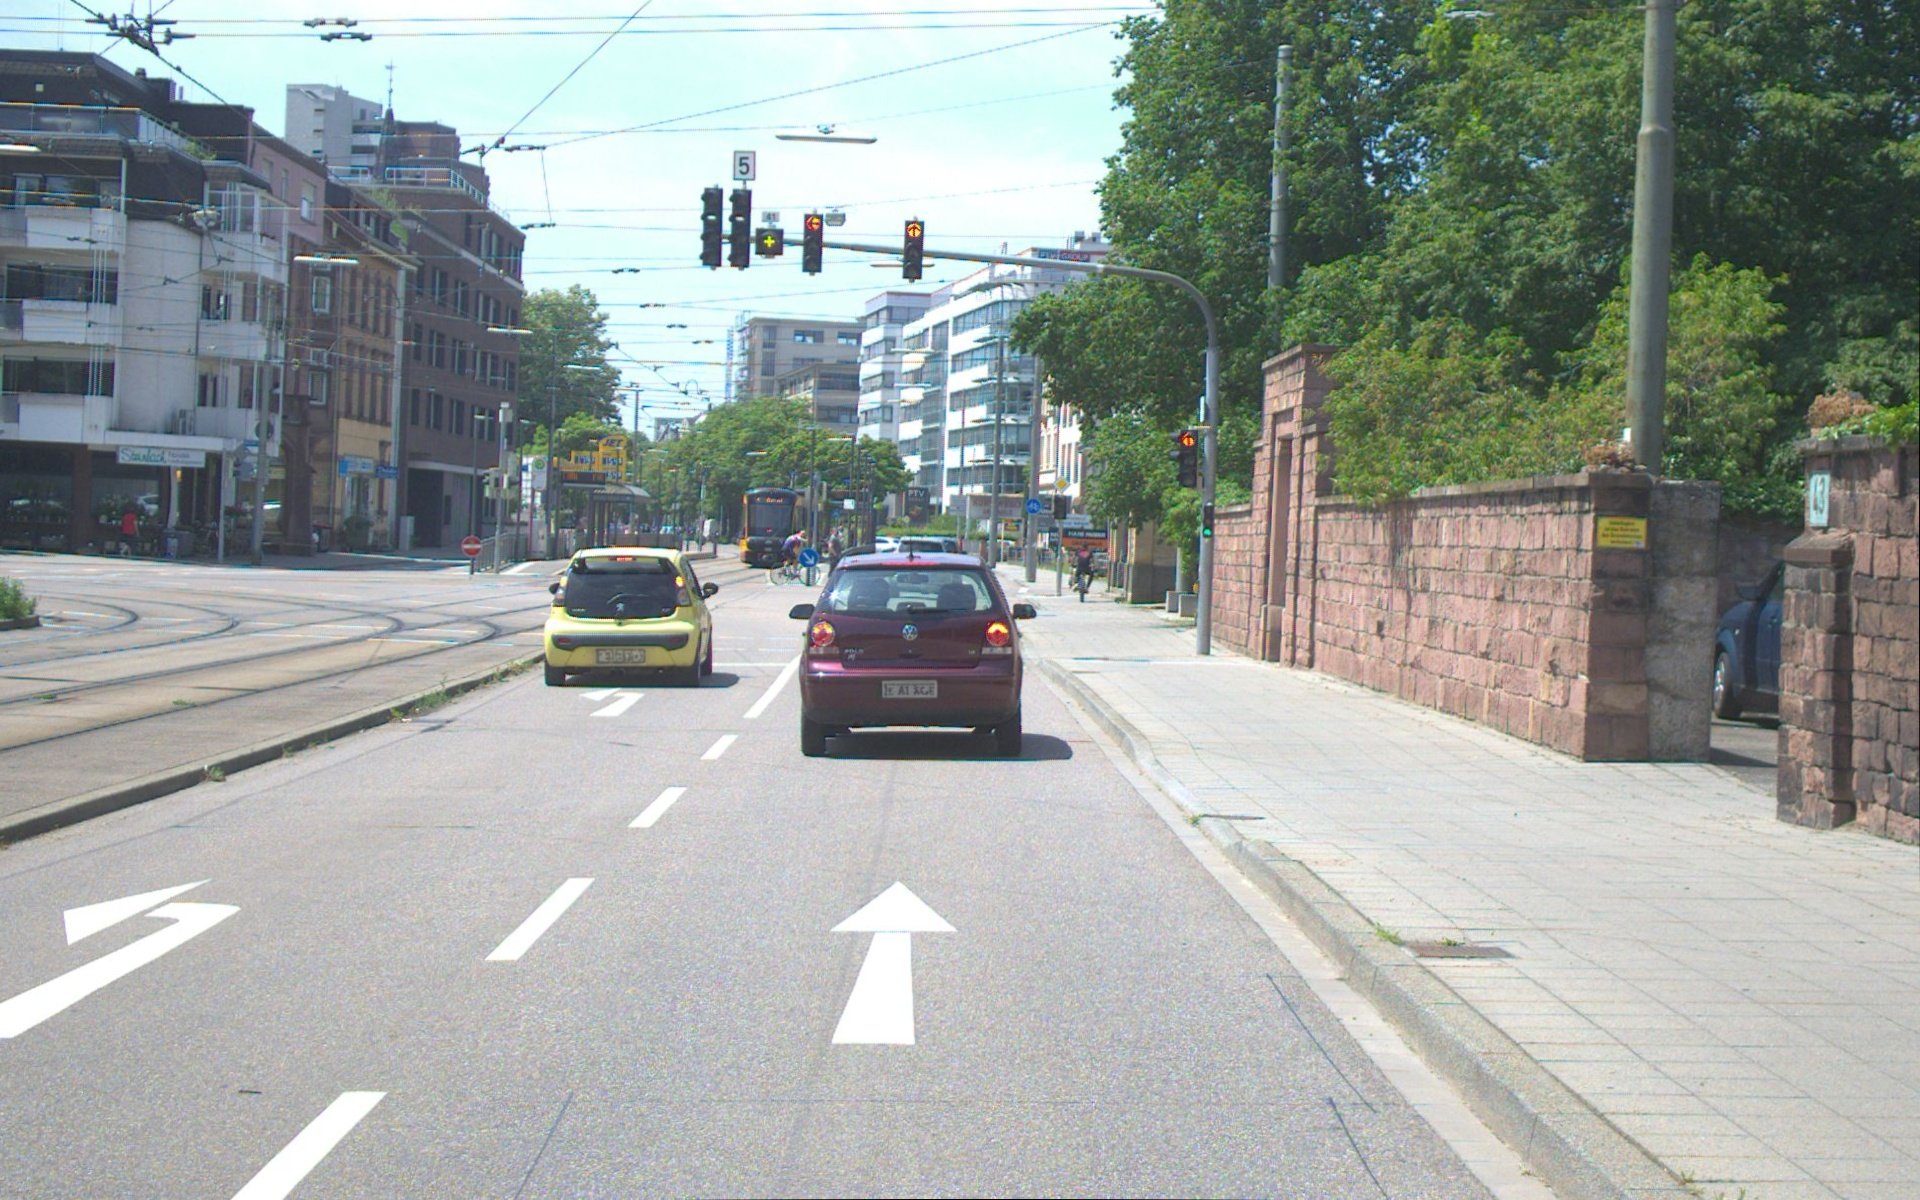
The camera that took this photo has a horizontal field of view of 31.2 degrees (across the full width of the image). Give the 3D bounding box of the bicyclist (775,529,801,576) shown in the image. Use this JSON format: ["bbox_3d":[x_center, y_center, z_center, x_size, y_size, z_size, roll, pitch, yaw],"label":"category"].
[{"bbox_3d":[-5.137,-1.409,102.686,0.765,1.401,0.506,1,0,-4],"label":"bicyclist"}]

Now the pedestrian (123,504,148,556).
[{"bbox_3d":[-24.554,-2.070,102.401,0.484,1.535,0.537,1,0,33],"label":"pedestrian"}]

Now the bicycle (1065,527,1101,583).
[{"bbox_3d":[3.419,-1.249,95.575,0.835,1.520,4.000,1,0,0],"label":"bicycle"}]

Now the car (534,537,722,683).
[{"bbox_3d":[-3.513,0.074,36.822,1.723,1.440,3.293,0,2,-1],"label":"car"}]

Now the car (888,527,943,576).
[{"bbox_3d":[-1.283,-1.423,99.959,1.572,1.411,3.720,0,1,-1],"label":"car"}]

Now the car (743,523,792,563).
[{"bbox_3d":[-8.326,-2.454,148.900,1.938,1.635,4.000,1,0,-1],"label":"car"}]

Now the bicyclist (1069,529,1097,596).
[{"bbox_3d":[3.389,-1.032,94.584,0.721,1.812,0.888,1,0,0],"label":"bicyclist"}]

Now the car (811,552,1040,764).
[{"bbox_3d":[-0.265,0.379,26.169,1.610,1.458,4.086,0,1,-1],"label":"car"}]

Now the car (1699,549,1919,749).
[{"bbox_3d":[7.157,0.369,27.934,1.480,1.477,2.945,3,1,-3],"label":"car"}]

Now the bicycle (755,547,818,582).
[{"bbox_3d":[-5.178,-1.063,102.688,1.865,1.004,0.579,1,0,-4],"label":"bicycle"}]

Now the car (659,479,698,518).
[{"bbox_3d":[-15.219,-5.491,186.241,1.735,2.007,4.000,2,1,0],"label":"car"}]
